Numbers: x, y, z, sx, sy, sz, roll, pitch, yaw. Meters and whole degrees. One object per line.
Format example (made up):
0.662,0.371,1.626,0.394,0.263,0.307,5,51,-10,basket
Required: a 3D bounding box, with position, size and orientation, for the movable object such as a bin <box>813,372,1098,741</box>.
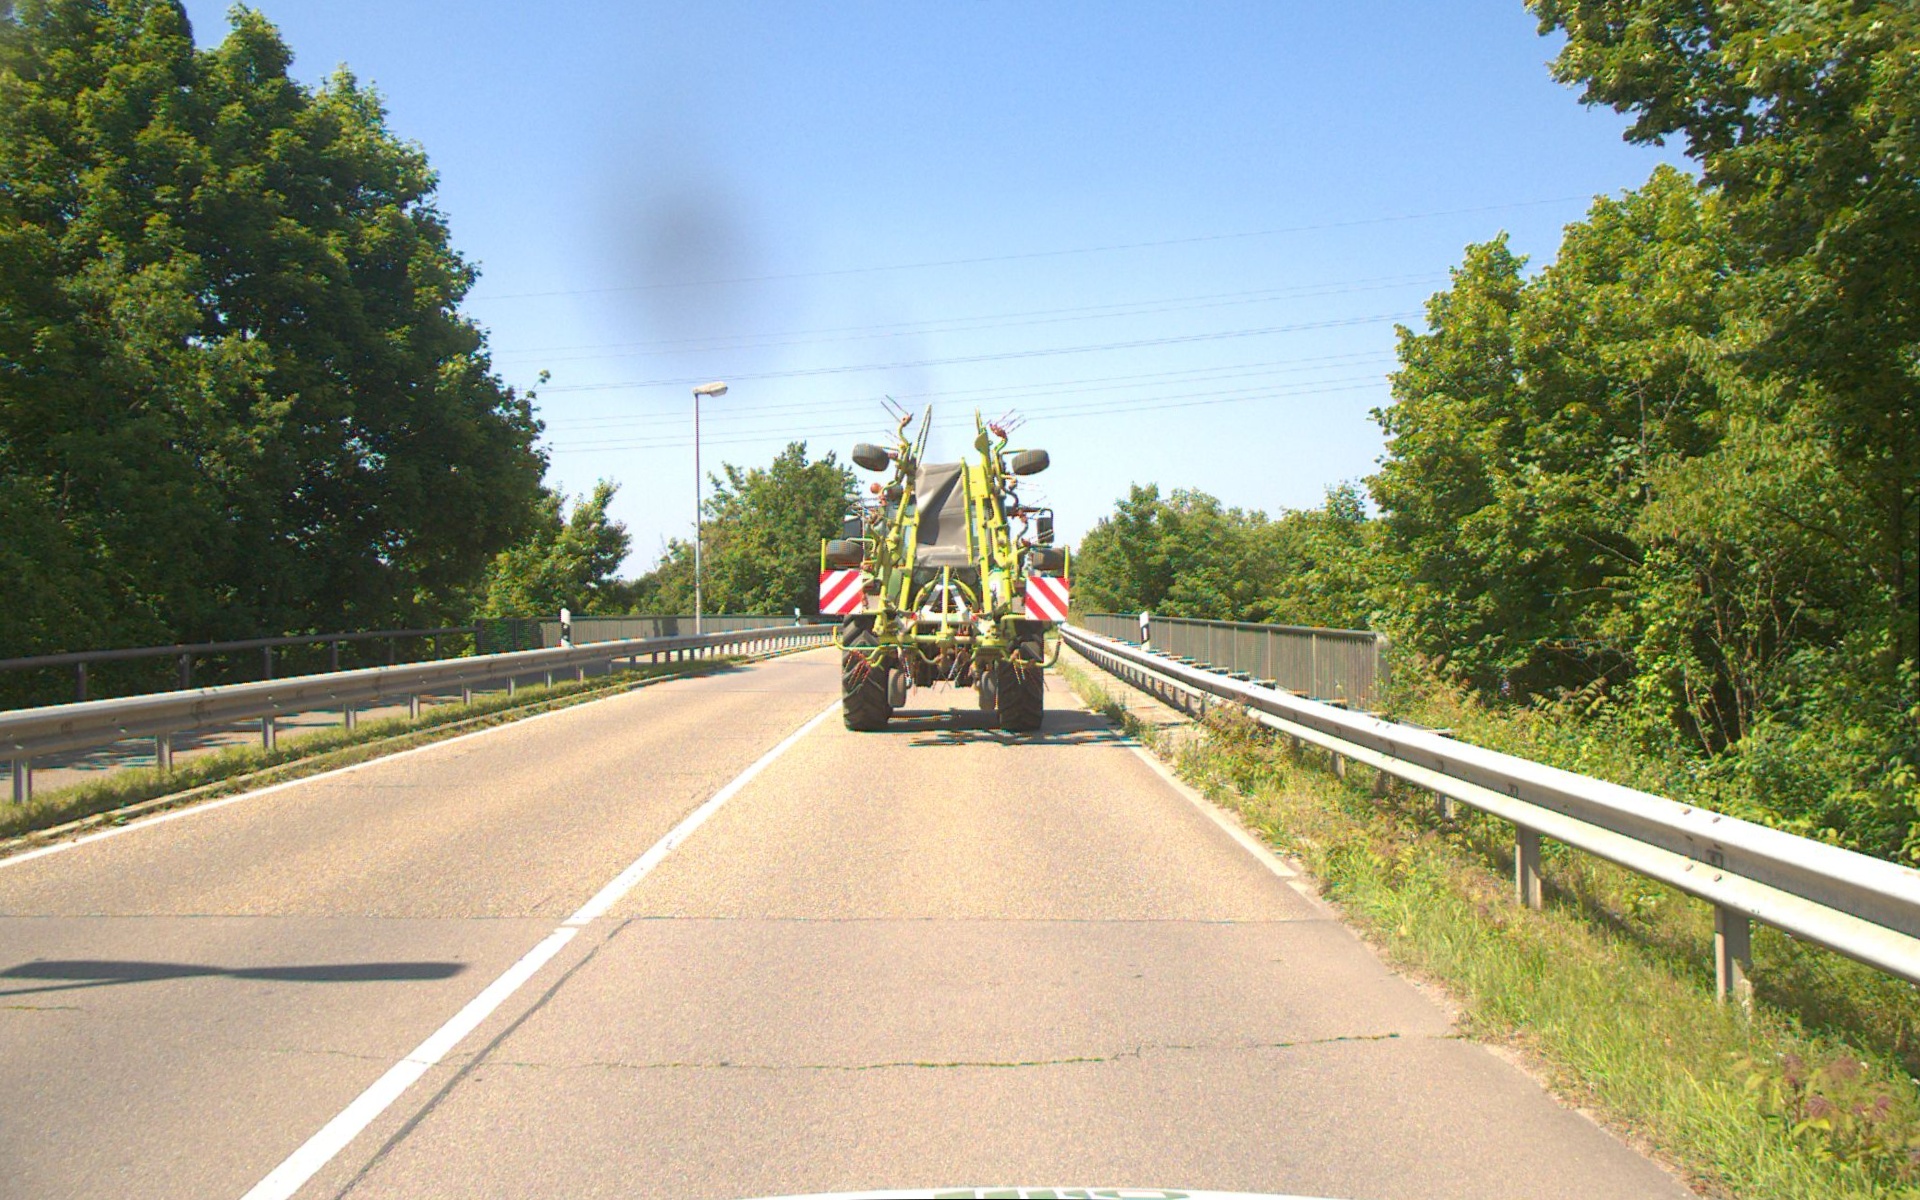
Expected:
-0.085,-0.415,18.574,2.699,3.504,5.669,0,0,-1,movable object such as a bin
